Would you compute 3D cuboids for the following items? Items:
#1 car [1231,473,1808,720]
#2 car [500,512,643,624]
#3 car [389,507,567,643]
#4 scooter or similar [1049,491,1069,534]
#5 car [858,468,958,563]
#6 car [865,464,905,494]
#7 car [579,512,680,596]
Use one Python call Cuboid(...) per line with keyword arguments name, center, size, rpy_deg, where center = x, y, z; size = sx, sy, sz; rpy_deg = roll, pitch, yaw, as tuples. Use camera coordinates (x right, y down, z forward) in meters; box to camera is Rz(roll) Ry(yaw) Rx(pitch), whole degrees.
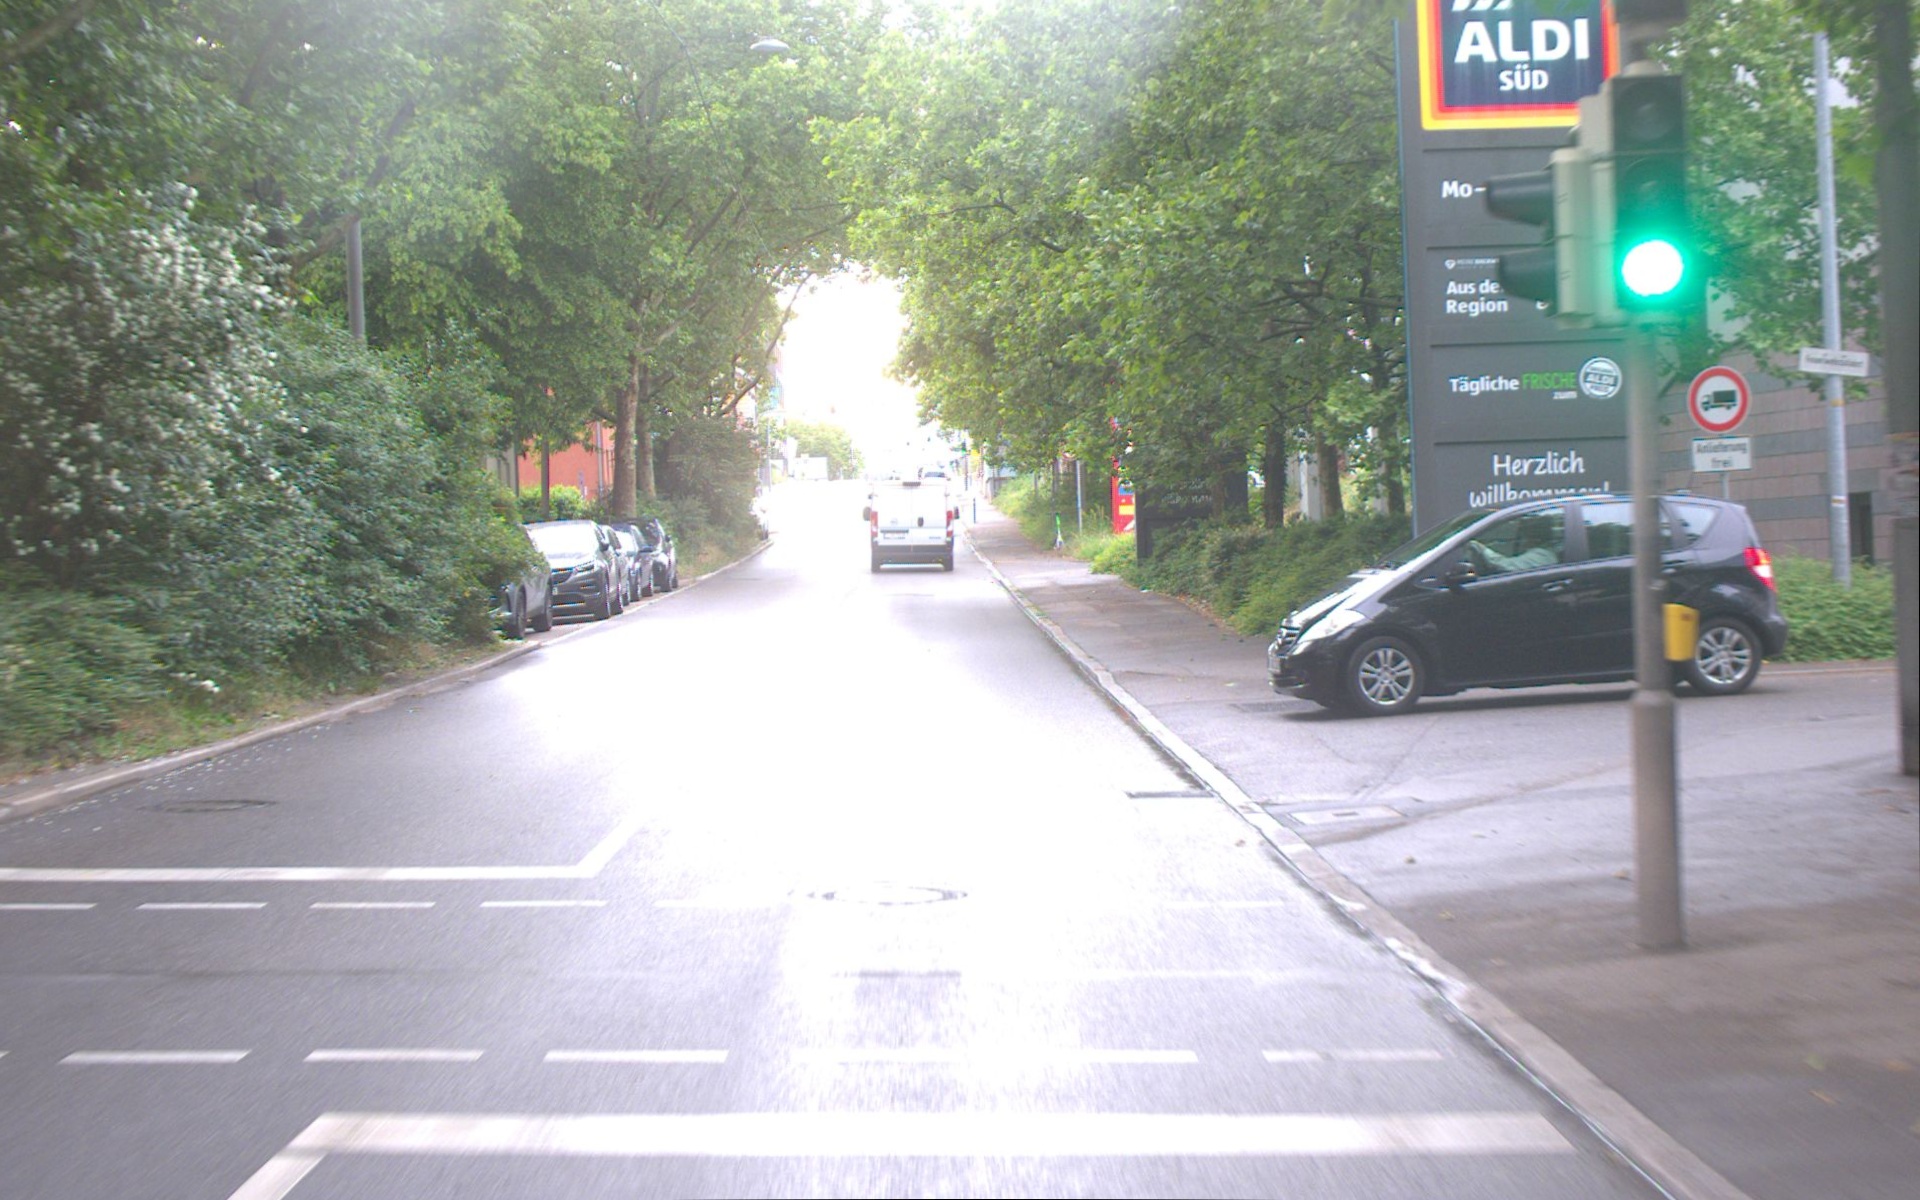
Cuboid(name="car", center=(4.197, -0.051, 26.203), size=(3.848, 1.542, 2.027), rpy_deg=(-4, 2, -6))
Cuboid(name="car", center=(-6.143, -0.549, 54.809), size=(1.864, 1.585, 4.240), rpy_deg=(-4, 2, -2))
Cuboid(name="car", center=(-6.839, -0.407, 49.229), size=(1.734, 1.651, 4.564), rpy_deg=(-5, 2, 1))
Cuboid(name="scooter or similar", center=(2.745, -2.428, 95.512), size=(0.425, 1.138, 1.529), rpy_deg=(0, 0, -3))
Cuboid(name="car", center=(-1.253, -2.071, 85.197), size=(2.336, 2.223, 4.000), rpy_deg=(-2, 1, 0))
Cuboid(name="car", center=(-4.664, -7.522, 214.118), size=(2.159, 1.703, 3.873), rpy_deg=(0, 0, 4))
Cuboid(name="car", center=(-6.781, -0.977, 70.847), size=(1.647, 1.532, 4.019), rpy_deg=(-5, 2, -1))
